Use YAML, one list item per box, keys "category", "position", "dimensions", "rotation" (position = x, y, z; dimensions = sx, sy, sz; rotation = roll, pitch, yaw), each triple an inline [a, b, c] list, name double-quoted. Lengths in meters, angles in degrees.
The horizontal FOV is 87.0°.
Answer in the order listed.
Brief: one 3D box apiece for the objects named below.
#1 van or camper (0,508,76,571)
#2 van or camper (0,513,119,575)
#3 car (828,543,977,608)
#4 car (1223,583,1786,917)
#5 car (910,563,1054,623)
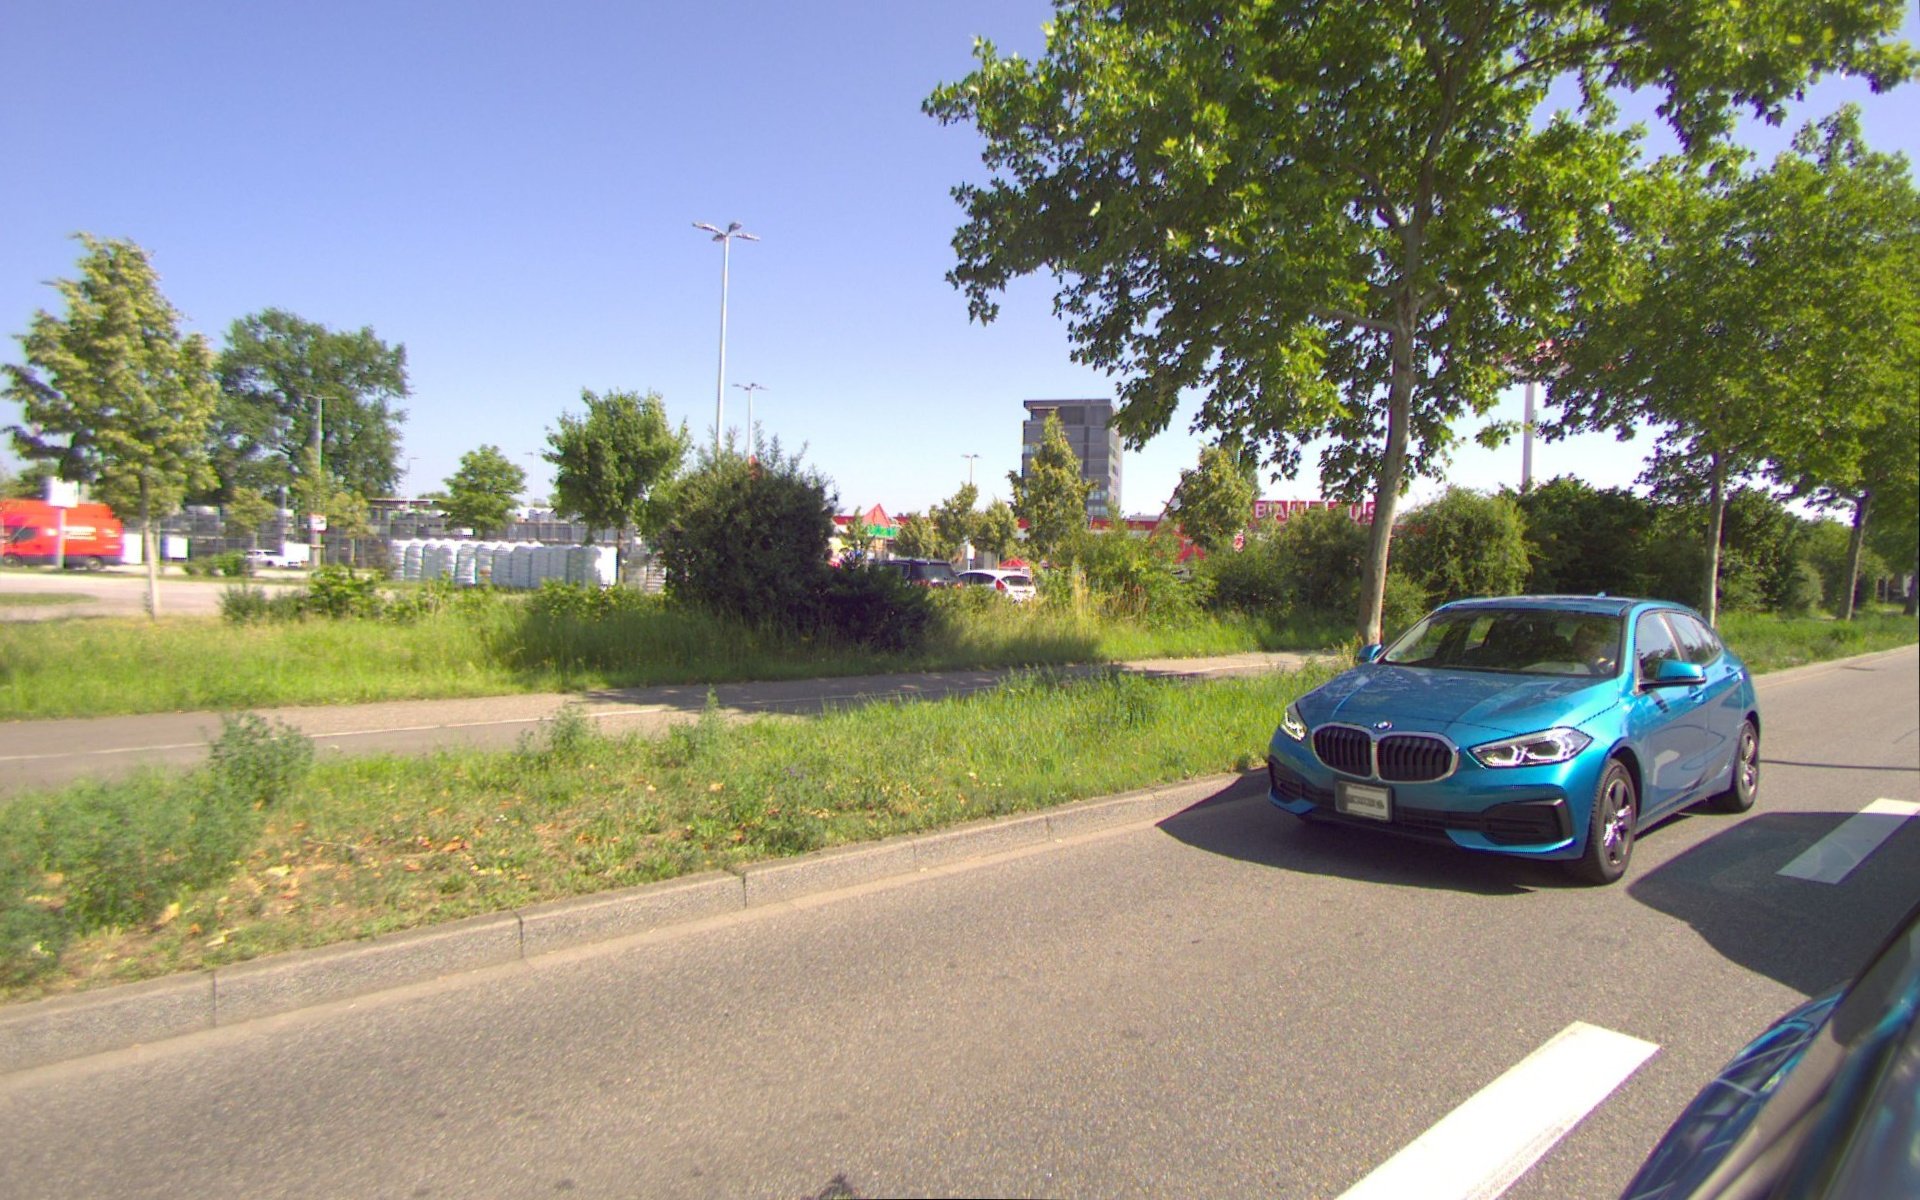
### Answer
- category: "van or camper"
  position: [-47.887, -2.989, 49.410]
  dimensions: [1.971, 2.979, 7.254]
  rotation: [-1, 1, 15]
- category: "van or camper"
  position: [-44.450, -2.621, 48.009]
  dimensions: [1.971, 2.738, 7.254]
  rotation: [-1, 1, 15]
- category: "car"
  position: [-1.613, -0.629, 27.436]
  dimensions: [1.850, 1.611, 4.075]
  rotation: [-1, 1, -43]
- category: "car"
  position: [3.670, 0.629, 6.503]
  dimensions: [4.059, 1.437, 1.871]
  rotation: [-1, 2, -41]
- category: "car"
  position: [0.576, -0.214, 29.394]
  dimensions: [1.850, 1.611, 4.075]
  rotation: [-1, 1, -43]
